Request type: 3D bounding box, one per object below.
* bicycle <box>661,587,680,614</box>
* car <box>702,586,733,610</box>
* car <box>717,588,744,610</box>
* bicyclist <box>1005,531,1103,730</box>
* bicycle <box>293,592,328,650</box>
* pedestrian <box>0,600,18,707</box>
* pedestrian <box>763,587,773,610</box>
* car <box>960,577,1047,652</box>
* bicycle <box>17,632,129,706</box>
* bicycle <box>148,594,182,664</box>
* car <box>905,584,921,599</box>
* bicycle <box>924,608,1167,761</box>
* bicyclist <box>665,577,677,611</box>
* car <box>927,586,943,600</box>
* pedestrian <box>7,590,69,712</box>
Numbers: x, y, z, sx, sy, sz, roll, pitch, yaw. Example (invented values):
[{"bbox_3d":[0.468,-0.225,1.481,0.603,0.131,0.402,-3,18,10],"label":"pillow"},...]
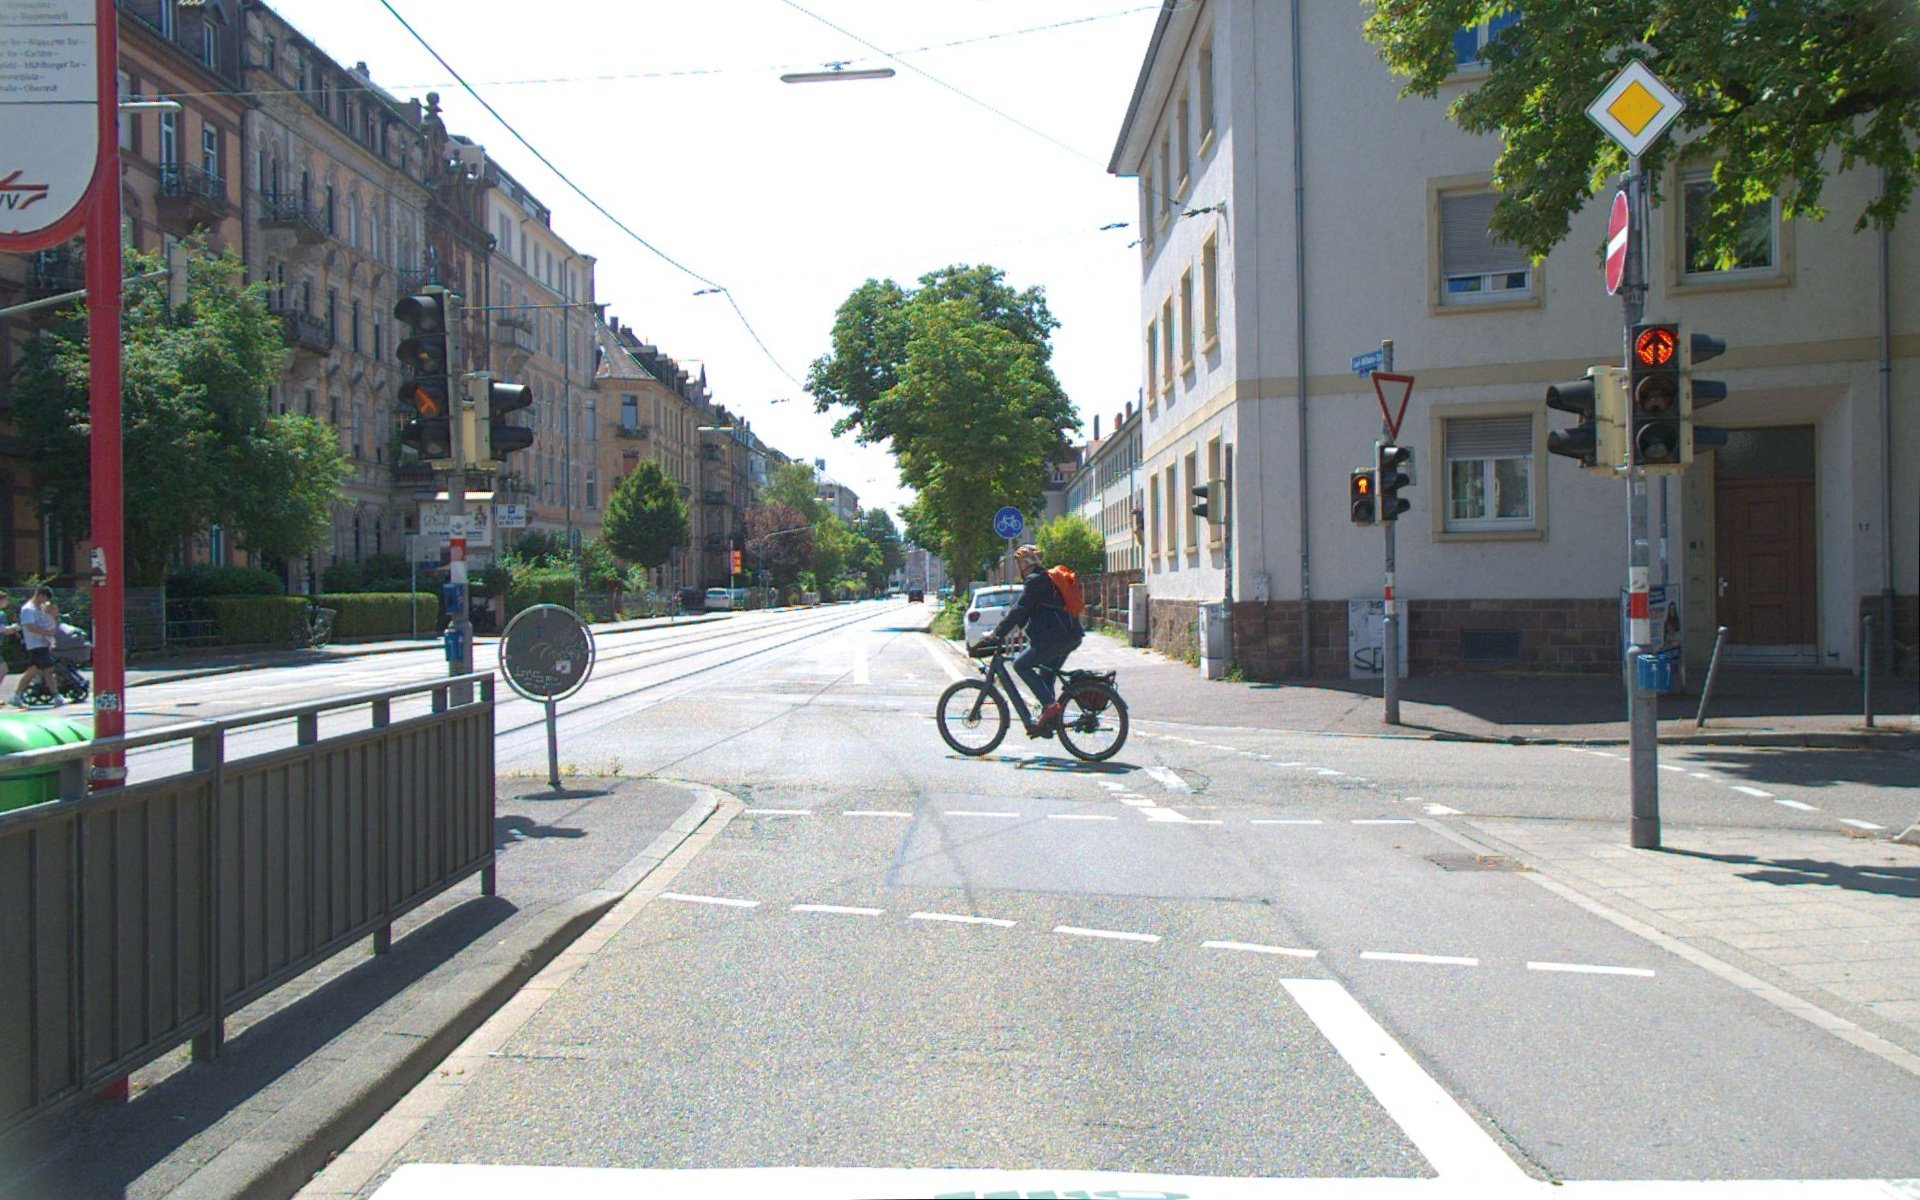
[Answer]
[{"bbox_3d":[-15.344,0.017,87.714,0.565,1.412,2.500,0,0,-1],"label":"bicycle"},{"bbox_3d":[-16.884,-0.127,115.394,1.651,1.498,3.936,-4,0,-3],"label":"car"},{"bbox_3d":[-17.165,-0.092,123.596,1.596,1.498,3.562,-4,0,-3],"label":"car"},{"bbox_3d":[0.818,0.259,14.315,0.679,1.675,0.580,0,0,25],"label":"bicyclist"},{"bbox_3d":[-15.921,0.497,40.515,0.584,1.380,2.419,0,0,-27],"label":"bicycle"},{"bbox_3d":[-13.897,0.765,23.804,0.503,1.543,0.462,0,0,-43],"label":"pedestrian"},{"bbox_3d":[-14.624,-0.105,125.956,0.664,1.758,0.677,0,0,-1],"label":"pedestrian"},{"bbox_3d":[0.928,0.308,37.222,1.712,1.498,3.937,-4,0,-1],"label":"car"},{"bbox_3d":[-12.843,0.983,23.971,1.390,1.031,0.383,0,-1,-41],"label":"bicycle"},{"bbox_3d":[-16.564,0.581,34.439,0.607,1.420,2.288,0,0,-27],"label":"bicycle"},{"bbox_3d":[-4.948,-0.873,174.161,1.494,1.469,3.364,-2,0,0],"label":"car"},{"bbox_3d":[0.727,0.702,14.340,2.039,1.258,0.580,0,0,24],"label":"bicycle"},{"bbox_3d":[-15.324,-0.331,87.645,0.531,1.794,0.498,0,0,-1],"label":"bicyclist"},{"bbox_3d":[-2.834,-0.779,189.279,1.712,1.498,3.937,-4,0,-1],"label":"car"},{"bbox_3d":[-12.791,0.699,22.940,0.648,1.643,0.462,0,2,-43],"label":"pedestrian"}]
